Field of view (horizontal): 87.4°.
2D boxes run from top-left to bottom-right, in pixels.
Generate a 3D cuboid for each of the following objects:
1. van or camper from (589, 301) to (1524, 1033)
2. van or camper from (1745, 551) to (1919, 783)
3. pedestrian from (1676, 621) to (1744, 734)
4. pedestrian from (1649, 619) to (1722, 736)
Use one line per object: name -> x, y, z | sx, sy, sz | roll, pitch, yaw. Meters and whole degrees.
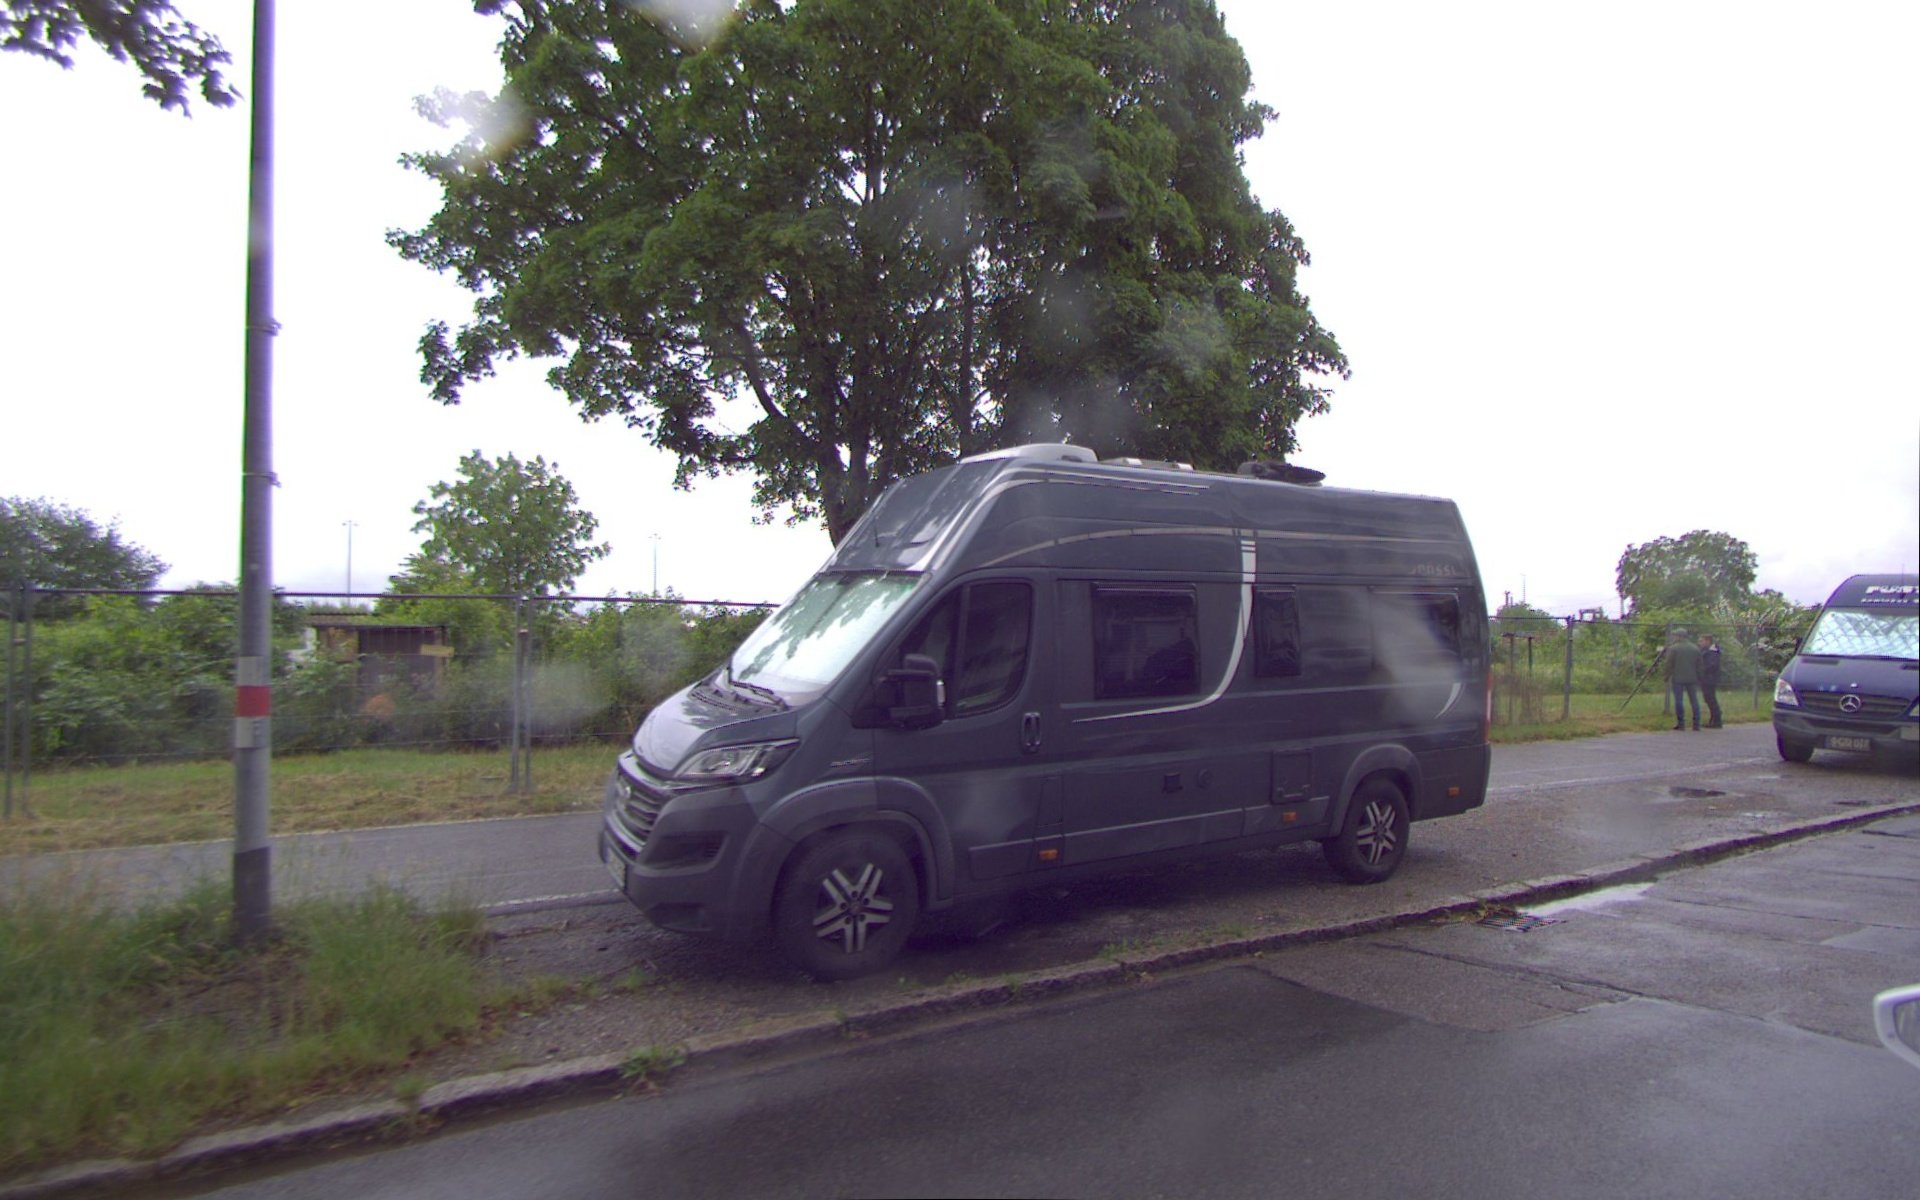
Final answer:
van or camper -> 1.021, 0.396, 6.850 | 6.350, 3.135, 2.084 | 2, -2, -31
van or camper -> 14.205, 0.924, 14.488 | 7.489, 2.751, 2.084 | 2, -2, -32
pedestrian -> 13.988, 1.425, 18.748 | 0.843, 2.040, 0.716 | 1, -2, -30
pedestrian -> 13.114, 1.377, 18.164 | 0.890, 2.040, 0.734 | 1, -2, -30
